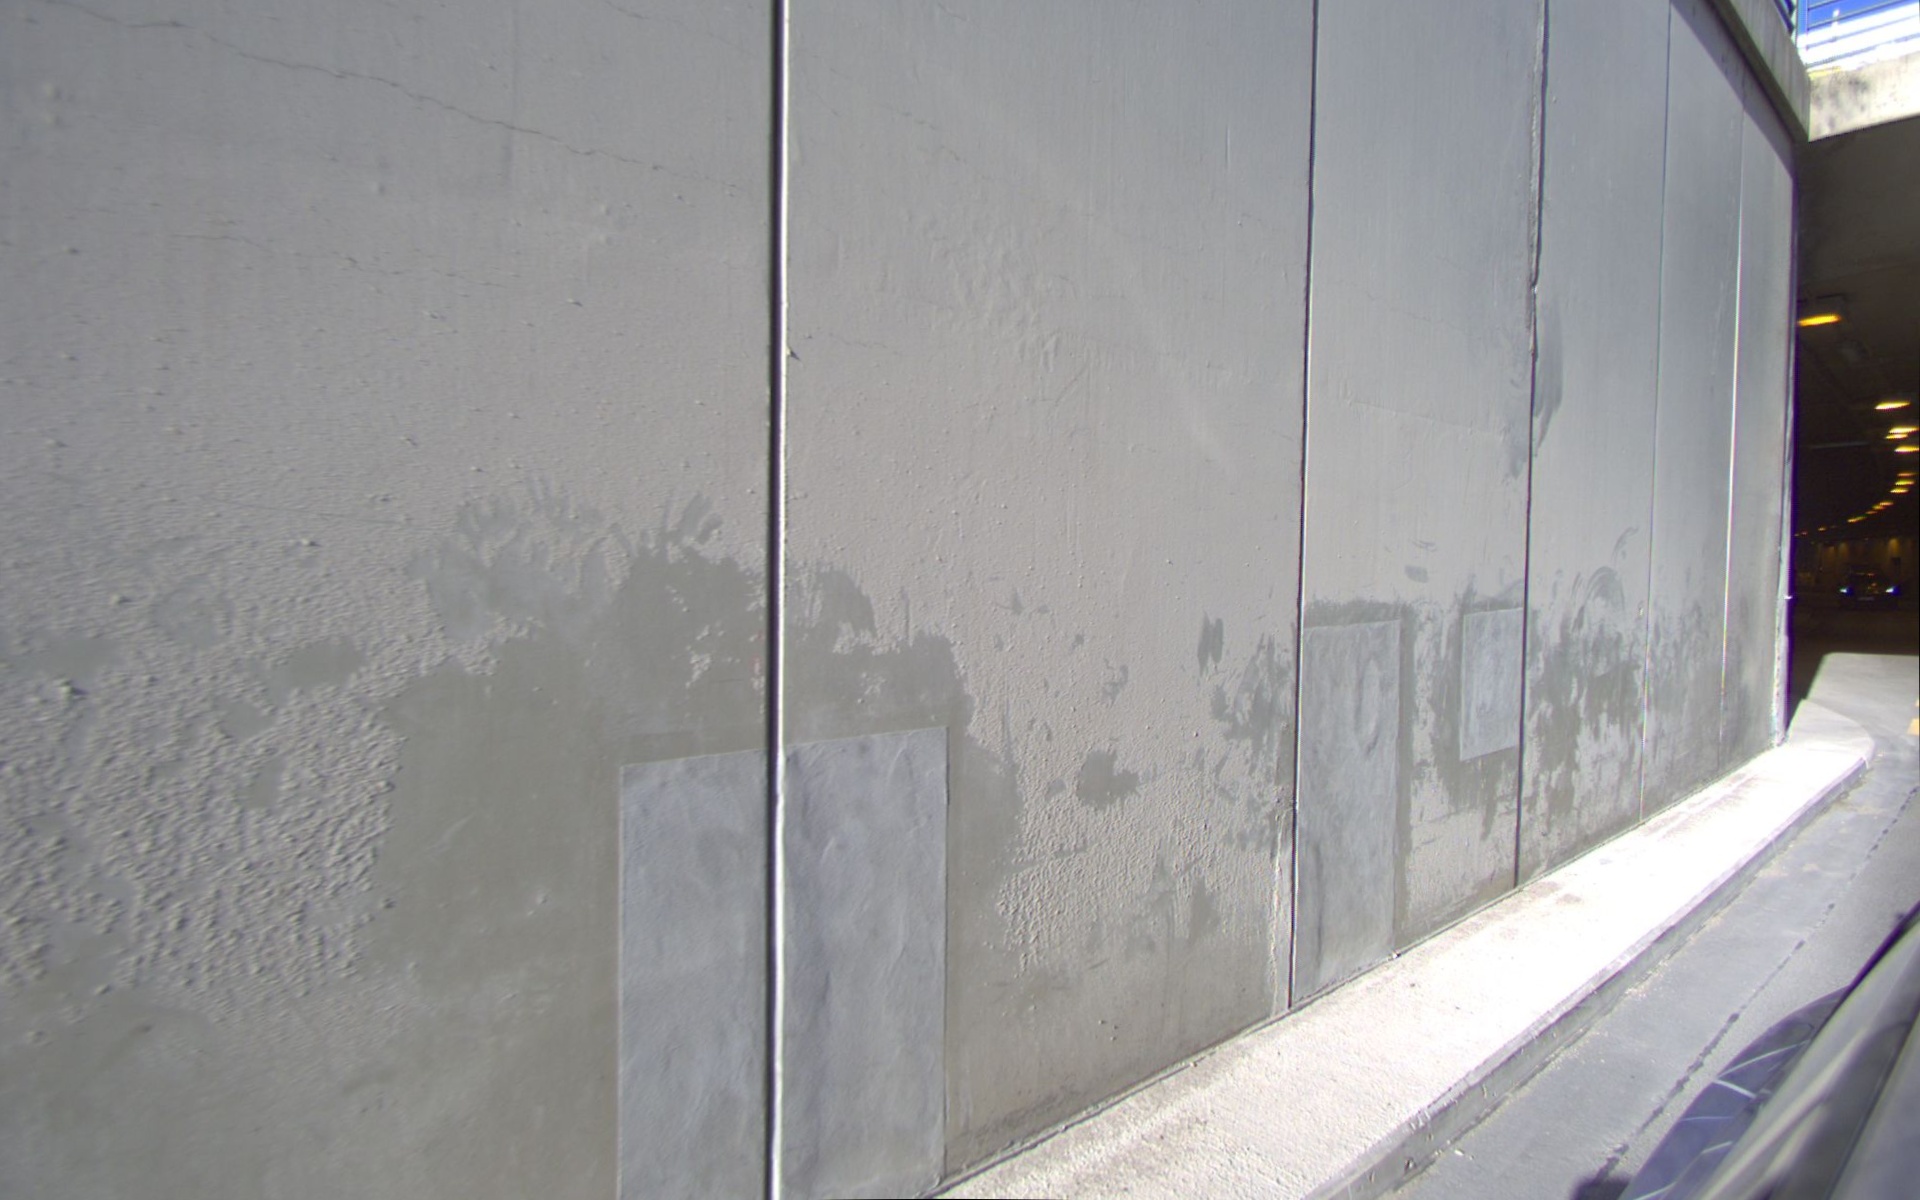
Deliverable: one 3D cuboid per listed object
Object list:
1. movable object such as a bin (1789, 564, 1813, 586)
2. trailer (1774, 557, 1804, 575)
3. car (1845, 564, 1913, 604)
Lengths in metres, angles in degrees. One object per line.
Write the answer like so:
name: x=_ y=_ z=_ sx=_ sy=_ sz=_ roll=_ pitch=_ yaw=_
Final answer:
movable object such as a bin: x=56.679 y=-1.671 z=68.193 sx=1.093 sy=1.463 sz=1.306 roll=0 pitch=2 yaw=34
trailer: x=85.247 y=-3.526 z=104.152 sx=1.627 sy=1.813 sz=3.097 roll=0 pitch=2 yaw=25
car: x=38.944 y=-0.697 z=42.964 sx=1.889 sy=1.564 sz=4.181 roll=0 pitch=2 yaw=39
